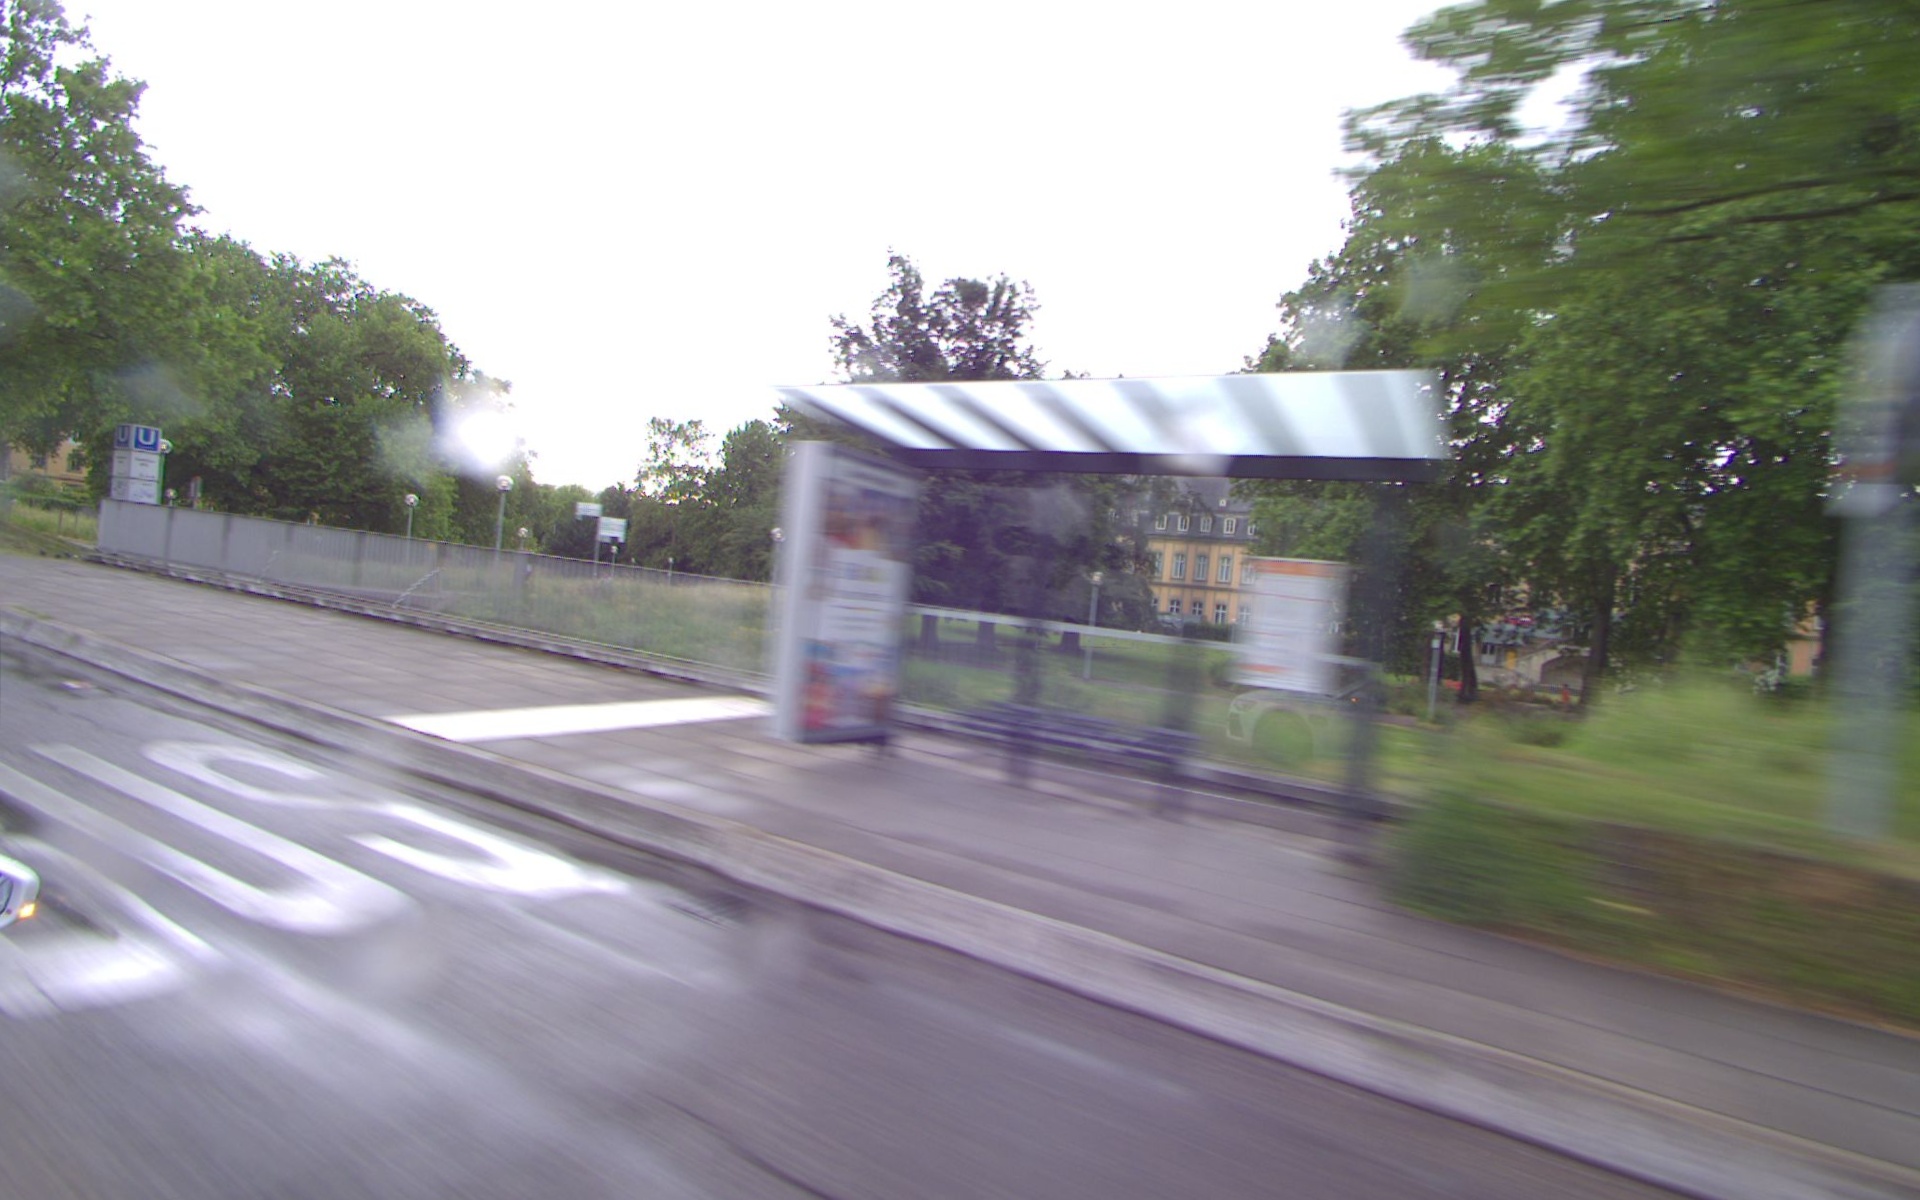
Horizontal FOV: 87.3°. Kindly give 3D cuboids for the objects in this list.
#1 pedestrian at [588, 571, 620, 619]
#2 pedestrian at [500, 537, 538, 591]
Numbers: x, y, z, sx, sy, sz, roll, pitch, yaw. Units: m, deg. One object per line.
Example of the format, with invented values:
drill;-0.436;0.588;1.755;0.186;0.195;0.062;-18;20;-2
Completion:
pedestrian;-13.463;-0.194;38.015;0.641;1.712;0.768;6;-1;45
pedestrian;-14.860;-1.202;33.923;0.817;1.661;0.727;6;-1;-6
